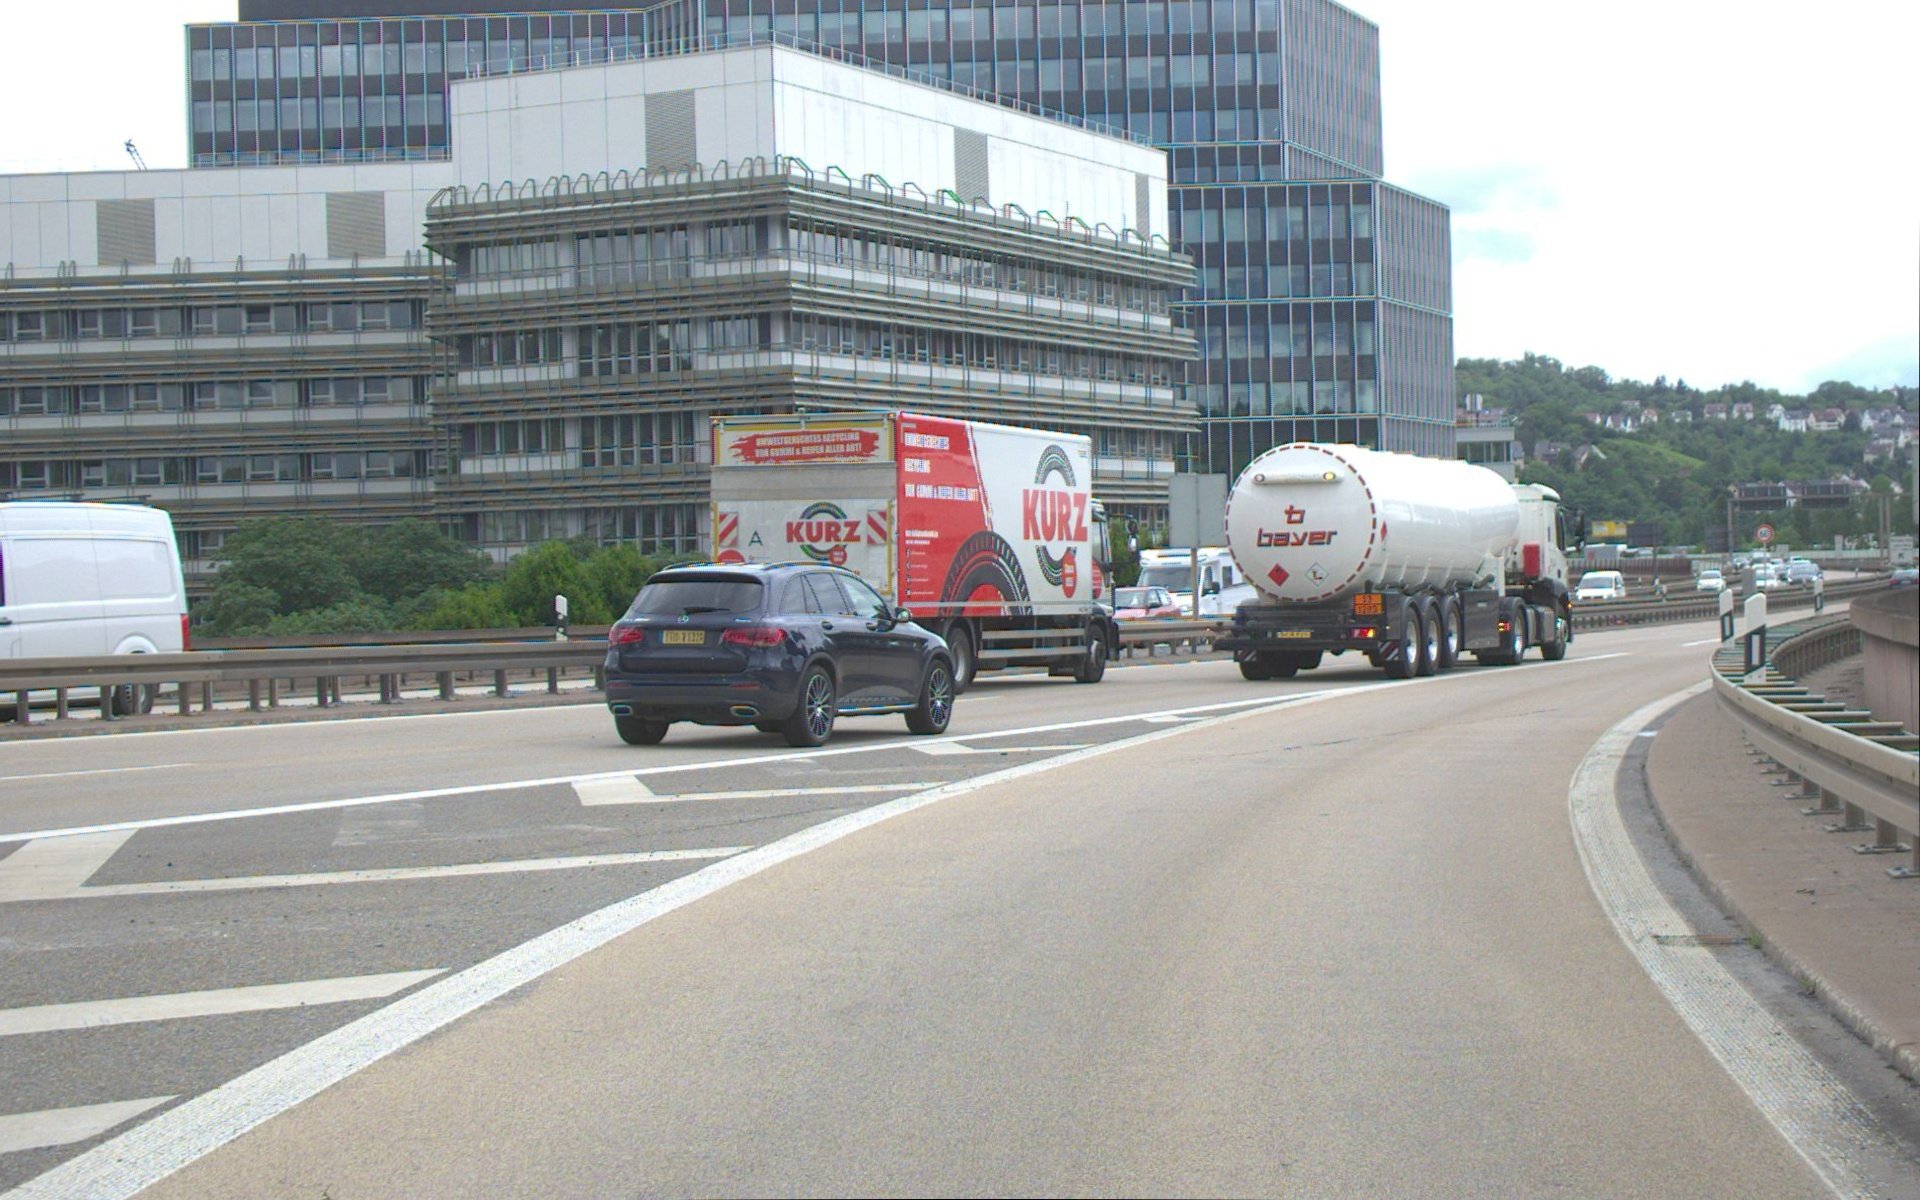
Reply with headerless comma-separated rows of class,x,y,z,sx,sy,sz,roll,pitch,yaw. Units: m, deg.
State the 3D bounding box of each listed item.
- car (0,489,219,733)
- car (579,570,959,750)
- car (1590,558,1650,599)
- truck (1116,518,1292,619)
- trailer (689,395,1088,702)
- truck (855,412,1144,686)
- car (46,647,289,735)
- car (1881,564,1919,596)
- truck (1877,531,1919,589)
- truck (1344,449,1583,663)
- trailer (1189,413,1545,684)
car,-11.164,0.104,38.565,2.581,2.635,6.184,0,1,21
car,-1.652,0.490,31.365,1.848,1.499,4.261,1,1,21
car,29.135,-0.967,151.761,1.869,1.706,4.597,-2,0,20
truck,6.811,-0.898,94.874,2.493,2.617,7.339,-2,0,23
trailer,-0.776,-0.671,45.677,2.693,3.677,7.306,-2,0,20
truck,0.637,-0.720,49.457,2.693,3.677,4.434,-2,0,21
car,-12.900,1.467,56.203,1.644,1.231,4.276,-2,0,23
car,47.903,-1.005,174.595,1.995,1.533,3.996,0,-1,17
truck,65.447,-2.804,239.292,2.397,3.880,5.937,-2,0,21
truck,8.757,-0.756,59.296,2.772,3.419,5.959,-2,0,21
trailer,6.580,-0.794,53.533,2.795,3.725,11.143,-2,0,21
